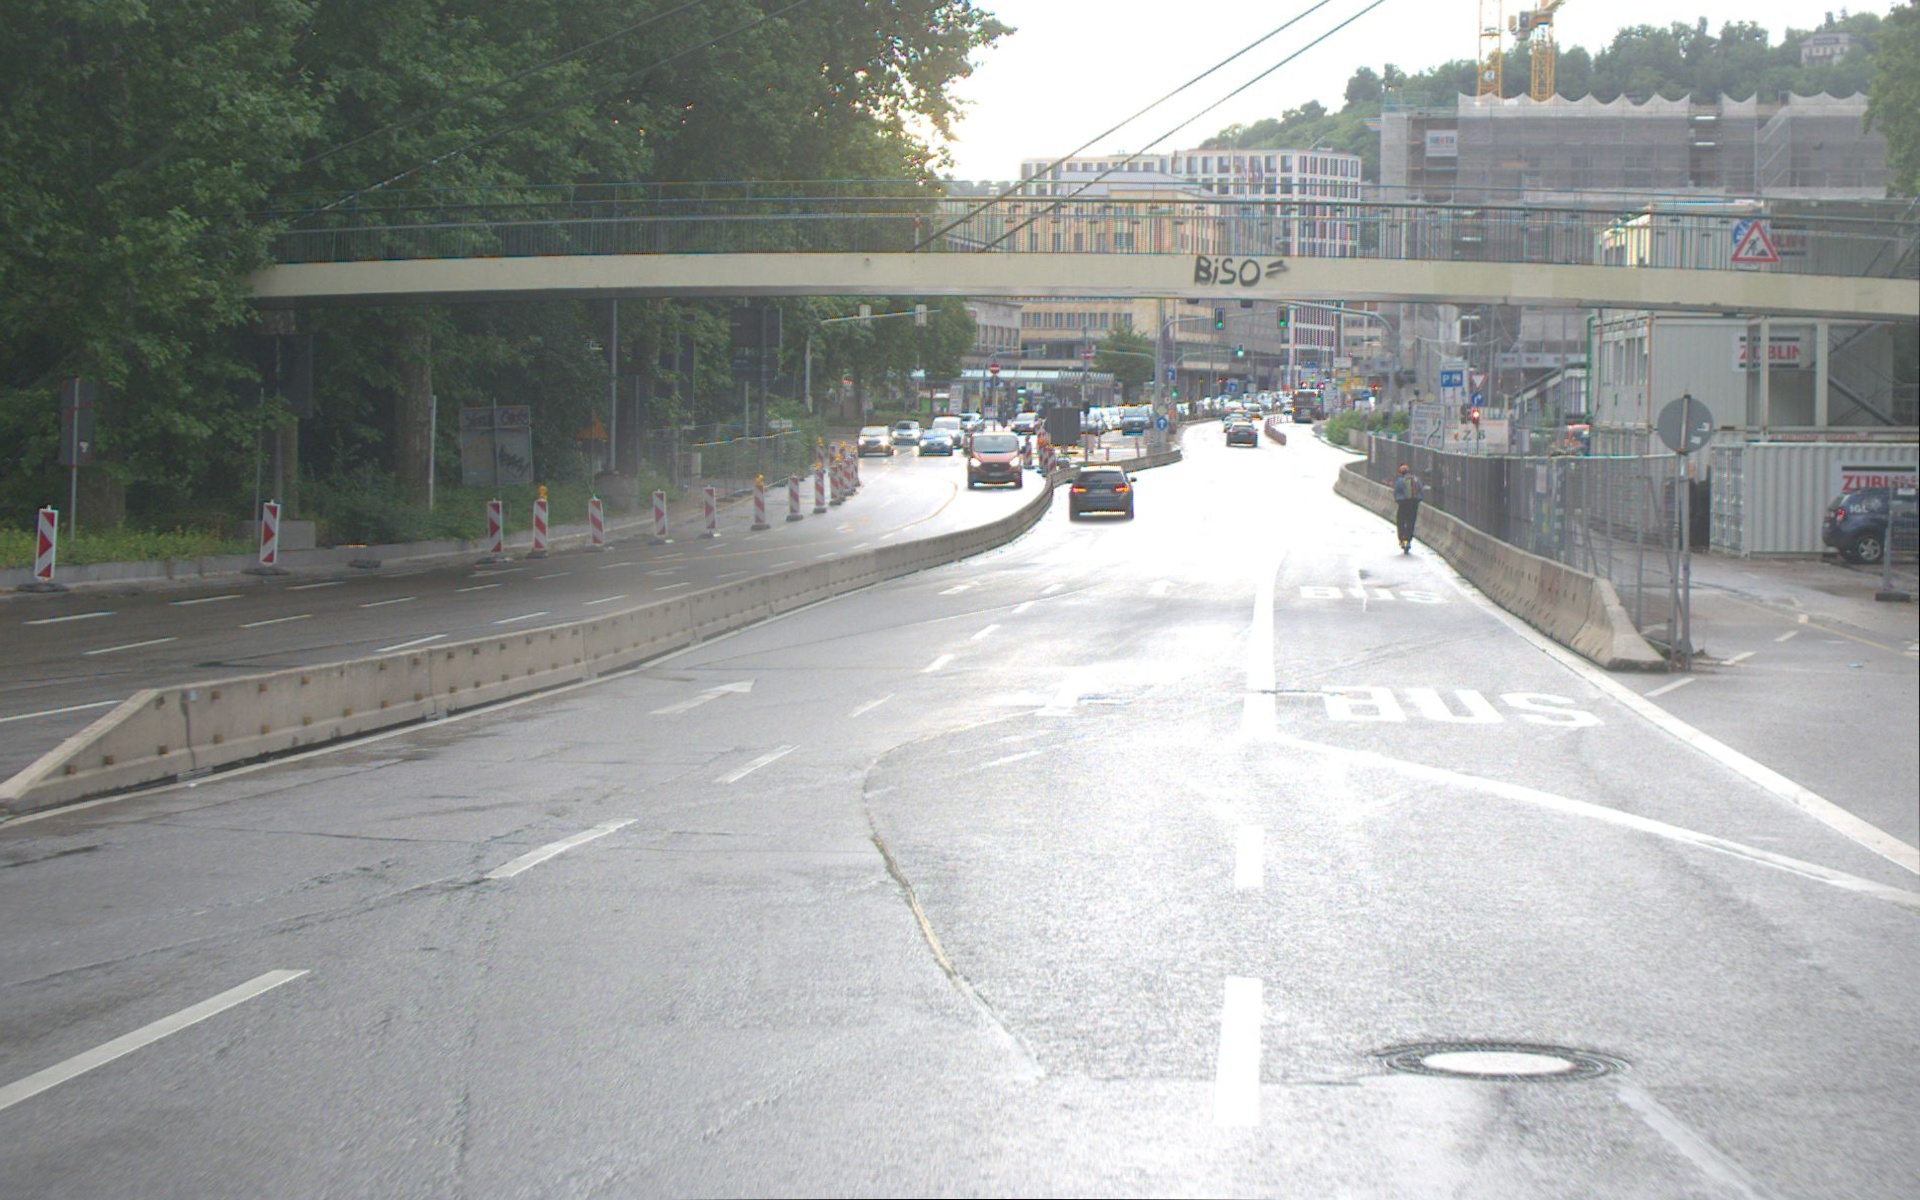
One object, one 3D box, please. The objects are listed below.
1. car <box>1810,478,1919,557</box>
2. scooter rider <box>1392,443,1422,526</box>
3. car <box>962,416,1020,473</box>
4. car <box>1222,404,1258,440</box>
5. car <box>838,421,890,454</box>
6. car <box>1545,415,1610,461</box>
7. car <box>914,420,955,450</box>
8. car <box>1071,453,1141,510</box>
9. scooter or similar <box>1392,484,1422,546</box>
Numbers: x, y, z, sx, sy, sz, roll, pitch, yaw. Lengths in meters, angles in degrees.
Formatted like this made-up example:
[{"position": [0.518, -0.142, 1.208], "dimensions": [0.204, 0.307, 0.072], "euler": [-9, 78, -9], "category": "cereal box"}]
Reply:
[{"position": [21.047, -1.787, 75.070], "dimensions": [4.543, 1.623, 1.788], "euler": [1, 4, 3], "category": "car"}, {"position": [9.882, -2.561, 76.052], "dimensions": [0.597, 1.779, 0.997], "euler": [2, 3, 7], "category": "scooter rider"}, {"position": [1.124, -5.701, 126.521], "dimensions": [2.031, 1.930, 5.044], "euler": [-1, 1, 0], "category": "car"}, {"position": [16.532, -10.489, 202.705], "dimensions": [1.994, 2.007, 3.999], "euler": [-1, 1, 6], "category": "car"}, {"position": [-5.061, -8.557, 180.544], "dimensions": [2.030, 1.647, 4.321], "euler": [-1, 4, -11], "category": "car"}, {"position": [28.039, -7.377, 156.194], "dimensions": [1.912, 1.968, 5.164], "euler": [1, 3, -1], "category": "car"}, {"position": [-1.364, -8.654, 180.725], "dimensions": [1.712, 1.334, 4.063], "euler": [-6, 3, -5], "category": "car"}, {"position": [4.074, -3.308, 96.273], "dimensions": [1.902, 1.522, 4.177], "euler": [-1, 1, 2], "category": "car"}, {"position": [9.885, -1.892, 76.100], "dimensions": [0.597, 1.314, 1.667], "euler": [2, 3, 7], "category": "scooter or similar"}]
